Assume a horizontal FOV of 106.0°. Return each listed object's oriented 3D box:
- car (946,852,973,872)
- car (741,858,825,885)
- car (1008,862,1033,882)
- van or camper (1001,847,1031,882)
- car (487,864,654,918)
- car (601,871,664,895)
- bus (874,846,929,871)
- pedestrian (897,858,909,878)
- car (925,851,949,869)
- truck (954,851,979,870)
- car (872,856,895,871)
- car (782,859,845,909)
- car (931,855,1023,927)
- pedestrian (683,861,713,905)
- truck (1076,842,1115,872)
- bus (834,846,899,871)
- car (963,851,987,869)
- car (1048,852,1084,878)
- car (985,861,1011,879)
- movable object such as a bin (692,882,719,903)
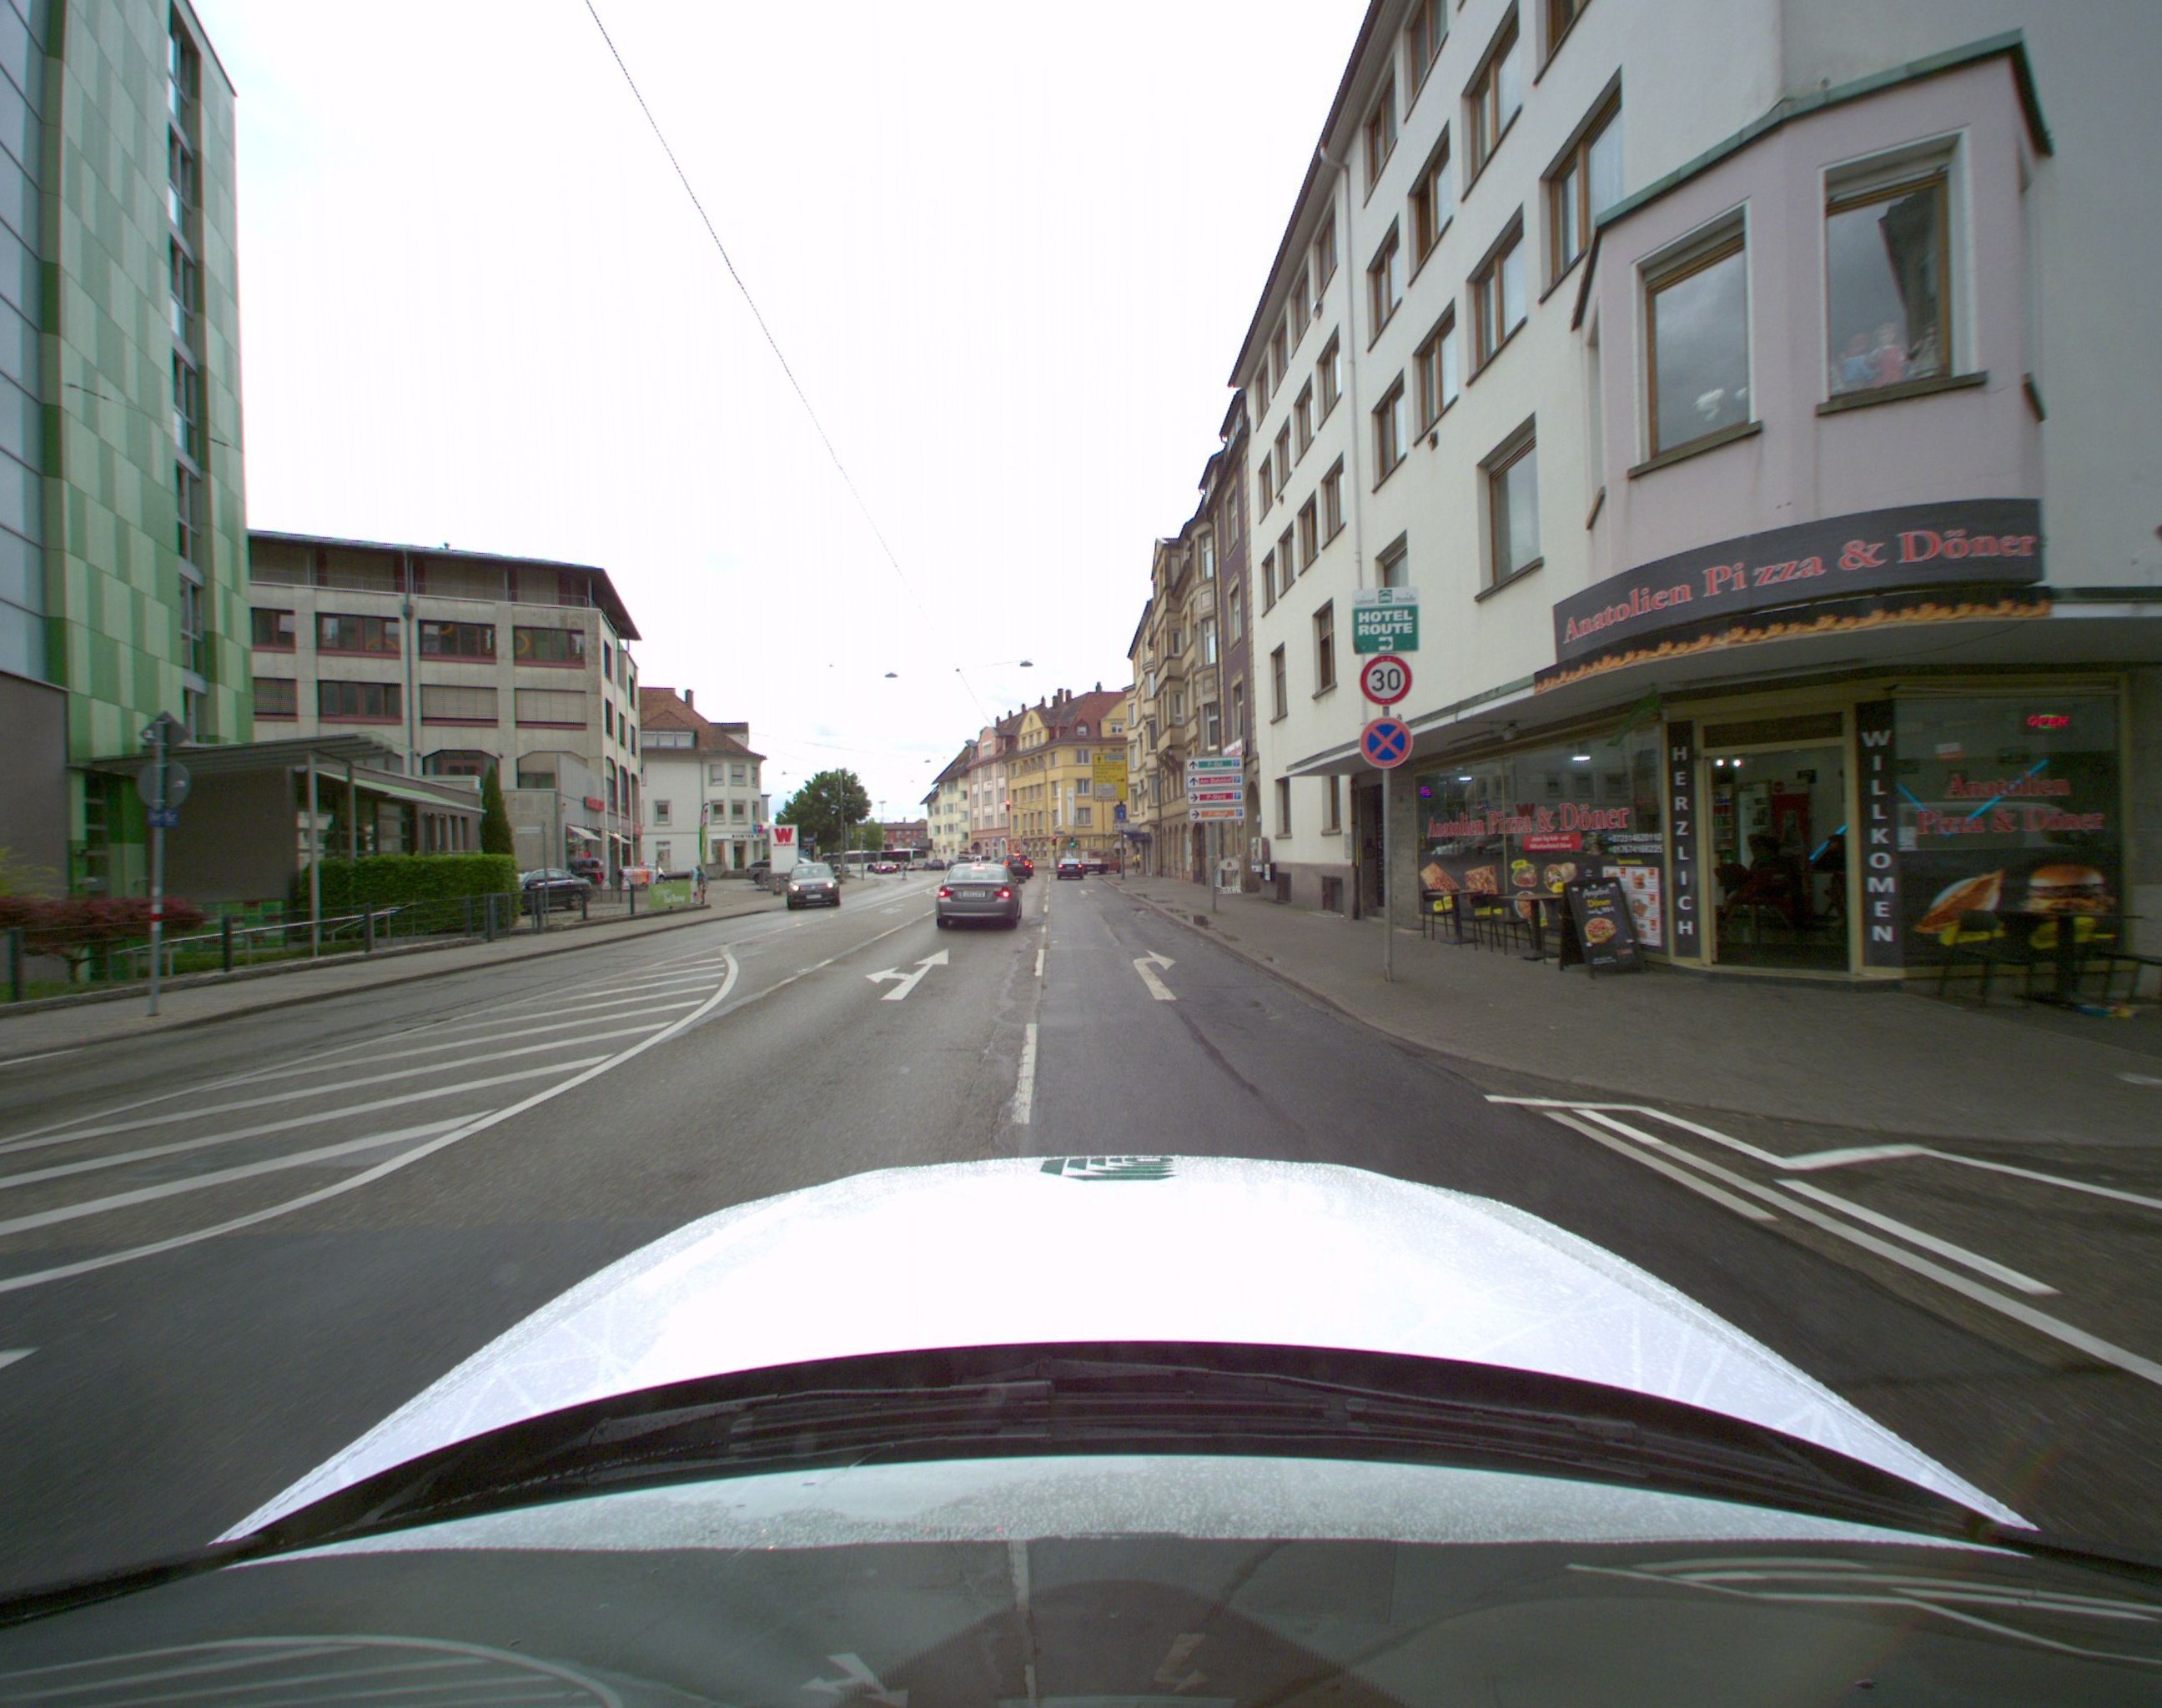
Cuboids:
[{"bbox_3d":[-13.345,0.875,89.279,2.002,2.013,3.969,-2,0,-23],"label":"car"},{"bbox_3d":[-18.102,1.034,49.676,4.442,1.526,1.881,-1,0,-8],"label":"car"},{"bbox_3d":[-4.559,1.304,60.847,1.800,1.406,4.675,-1,-1,-5],"label":"car"},{"bbox_3d":[-4.342,0.676,53.939,1.852,2.146,4.135,-1,0,-5],"label":"van or camper"},{"bbox_3d":[-15.857,1.097,25.682,1.984,1.439,4.659,-2,0,5],"label":"car"},{"bbox_3d":[-30.225,1.966,54.986,1.567,1.500,3.772,-2,-3,13],"label":"car"},{"bbox_3d":[-24.199,0.577,109.362,2.935,3.105,9.030,-2,0,-44],"label":"bus"},{"bbox_3d":[-13.691,1.108,62.593,0.764,1.529,0.504,0,-1,-23],"label":"pedestrian"},{"bbox_3d":[-17.567,0.736,99.039,2.003,2.013,3.968,-2,0,-24],"label":"car"},{"bbox_3d":[-15.246,0.823,108.147,2.037,2.389,4.199,2,-1,-28],"label":"truck"},{"bbox_3d":[-22.308,1.057,92.121,1.853,1.684,3.968,-1,0,-24],"label":"car"},{"bbox_3d":[-9.780,1.046,30.056,1.952,1.659,4.036,-2,0,-15],"label":"car"},{"bbox_3d":[-2.296,0.765,18.940,1.795,1.464,4.365,0,0,-3],"label":"car"},{"bbox_3d":[-15.000,1.132,31.896,0.745,1.685,0.752,-2,0,43],"label":"pedestrian"},{"bbox_3d":[1.194,0.203,64.230,2.210,2.249,5.078,-1,0,11],"label":"truck"},{"bbox_3d":[-29.893,0.594,113.443,8.762,3.105,2.935,-2,0,24],"label":"bus"},{"bbox_3d":[-13.330,0.800,102.449,1.772,2.180,3.964,1,-1,-28],"label":"car"},{"bbox_3d":[-0.988,0.688,52.459,1.798,1.563,3.988,-1,-1,-8],"label":"car"},{"bbox_3d":[-8.813,1.643,86.726,1.985,1.816,4.004,-2,-1,3],"label":"car"},{"bbox_3d":[-15.001,1.544,32.545,0.745,0.789,0.738,-3,-1,43],"label":"movable object such as a bin"}]
